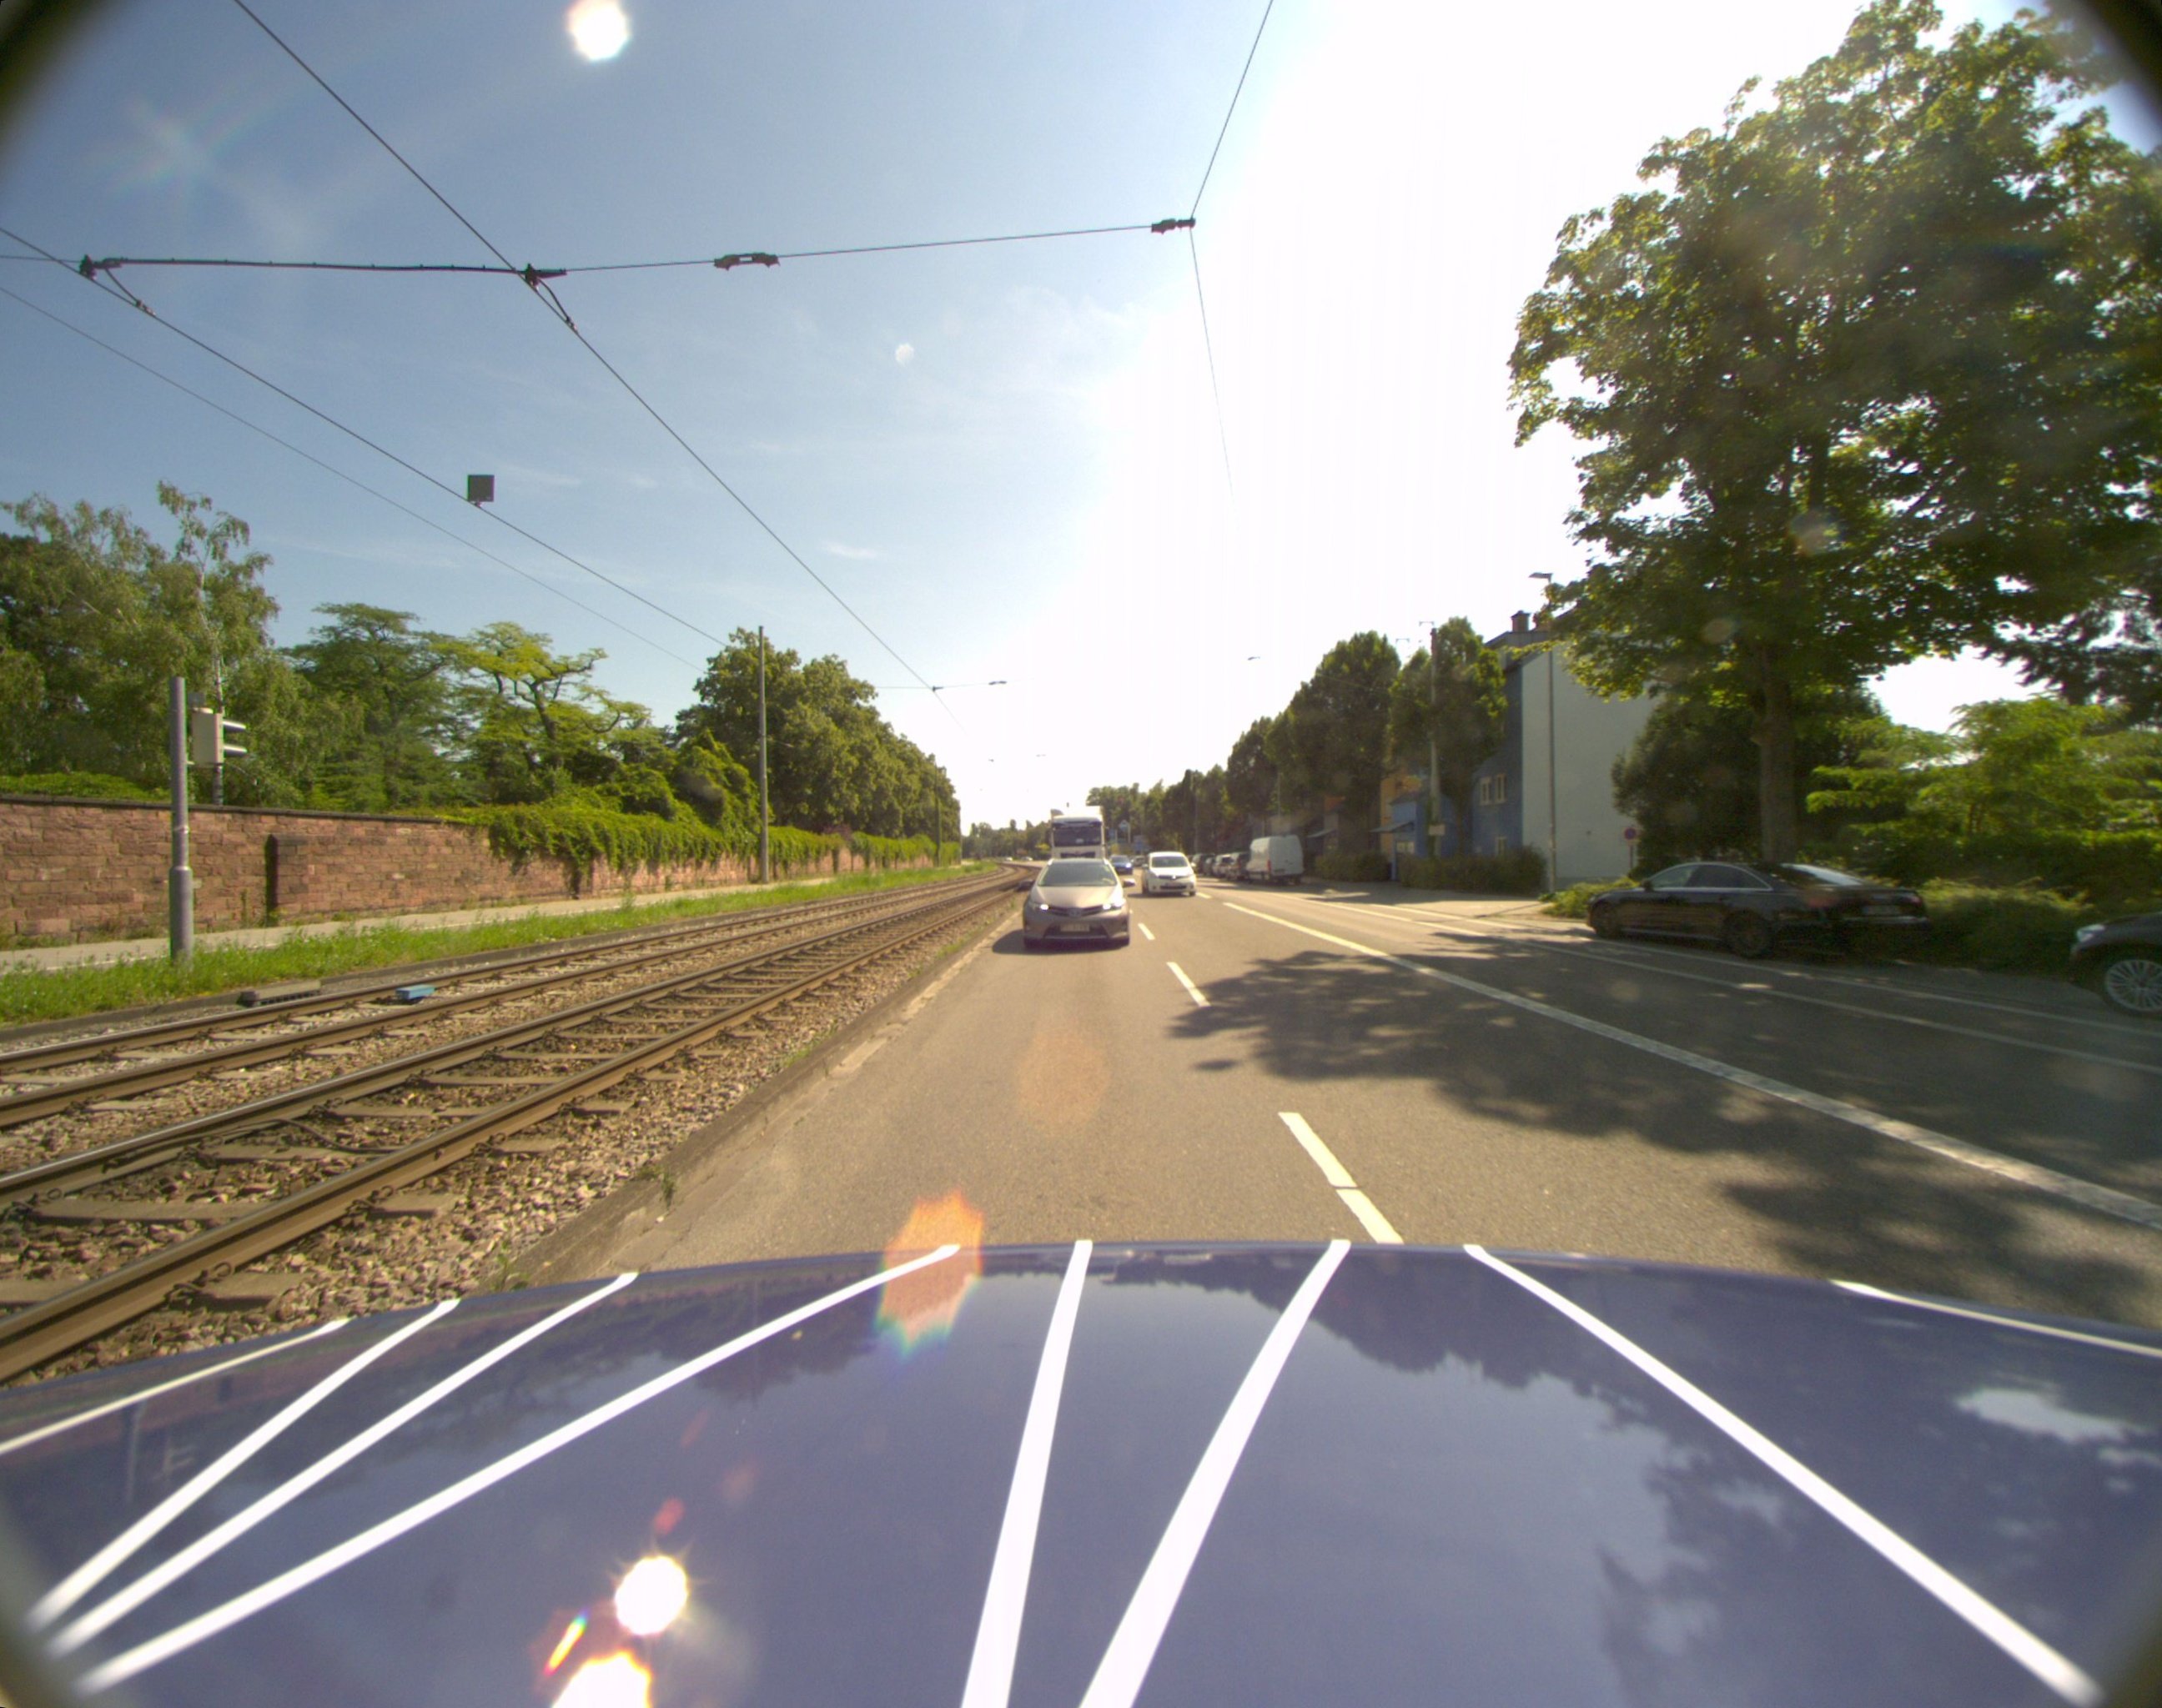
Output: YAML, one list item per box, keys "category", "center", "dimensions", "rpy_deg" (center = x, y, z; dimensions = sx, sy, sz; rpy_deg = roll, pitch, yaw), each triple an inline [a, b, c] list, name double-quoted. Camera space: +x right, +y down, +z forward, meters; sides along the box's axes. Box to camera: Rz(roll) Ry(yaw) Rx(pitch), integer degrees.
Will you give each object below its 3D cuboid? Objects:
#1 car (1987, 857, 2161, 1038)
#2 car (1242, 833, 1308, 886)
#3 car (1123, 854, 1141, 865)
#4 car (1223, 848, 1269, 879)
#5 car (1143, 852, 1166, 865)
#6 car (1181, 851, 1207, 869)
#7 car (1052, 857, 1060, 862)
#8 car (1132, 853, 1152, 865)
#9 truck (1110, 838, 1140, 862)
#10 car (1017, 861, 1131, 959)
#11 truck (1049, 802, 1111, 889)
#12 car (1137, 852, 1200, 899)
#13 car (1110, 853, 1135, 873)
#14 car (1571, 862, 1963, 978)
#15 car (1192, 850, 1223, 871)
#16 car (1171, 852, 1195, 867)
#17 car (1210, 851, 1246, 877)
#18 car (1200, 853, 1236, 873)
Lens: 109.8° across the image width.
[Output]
- category: "car"
  center: [10.553, 0.845, 5.677]
  dimensions: [1.766, 1.596, 4.893]
  rpy_deg: [-1, 0, 0]
- category: "car"
  center: [10.990, 0.274, 43.597]
  dimensions: [1.998, 2.661, 7.086]
  rpy_deg: [-4, 0, 1]
- category: "car"
  center: [7.359, 0.778, 109.405]
  dimensions: [1.915, 1.469, 4.213]
  rpy_deg: [-2, 1, -6]
- category: "car"
  center: [11.160, 0.621, 51.695]
  dimensions: [1.998, 1.855, 4.966]
  rpy_deg: [-5, 0, 1]
- category: "car"
  center: [9.395, 0.573, 97.237]
  dimensions: [1.911, 1.567, 4.929]
  rpy_deg: [-2, 1, -6]
- category: "car"
  center: [10.779, 0.525, 72.711]
  dimensions: [1.681, 1.598, 4.164]
  rpy_deg: [-2, 1, -3]
- category: "car"
  center: [-6.479, 1.484, 196.389]
  dimensions: [1.693, 1.237, 4.061]
  rpy_deg: [-1, 0, -9]
- category: "car"
  center: [8.410, 0.682, 105.035]
  dimensions: [2.040, 1.490, 4.130]
  rpy_deg: [-2, 1, -6]
- category: "truck"
  center: [6.714, -0.658, 117.079]
  dimensions: [3.165, 3.533, 8.779]
  rpy_deg: [0, 0, -6]
- category: "car"
  center: [-0.074, 0.890, 14.345]
  dimensions: [1.747, 1.421, 5.041]
  rpy_deg: [-1, 0, 1]
- category: "truck"
  center: [-0.018, -0.416, 40.197]
  dimensions: [2.805, 3.926, 11.943]
  rpy_deg: [0, 0, 0]
- category: "car"
  center: [3.141, 0.716, 28.099]
  dimensions: [1.784, 1.538, 4.394]
  rpy_deg: [-2, 0, 0]
- category: "car"
  center: [3.157, 0.678, 58.304]
  dimensions: [1.659, 1.517, 3.792]
  rpy_deg: [0, 0, 0]
- category: "car"
  center: [10.609, 0.891, 12.437]
  dimensions: [1.845, 1.457, 4.908]
  rpy_deg: [0, 0, -3]
- category: "car"
  center: [11.216, 0.515, 67.663]
  dimensions: [1.834, 1.718, 4.348]
  rpy_deg: [-3, 1, -3]
- category: "car"
  center: [10.575, 0.593, 79.102]
  dimensions: [1.681, 1.462, 4.212]
  rpy_deg: [-2, 1, -4]
- category: "car"
  center: [11.001, 0.733, 57.205]
  dimensions: [1.853, 1.693, 4.540]
  rpy_deg: [-4, 1, 1]
- category: "car"
  center: [11.201, 0.710, 62.379]
  dimensions: [1.871, 1.447, 4.074]
  rpy_deg: [-4, 1, -3]
